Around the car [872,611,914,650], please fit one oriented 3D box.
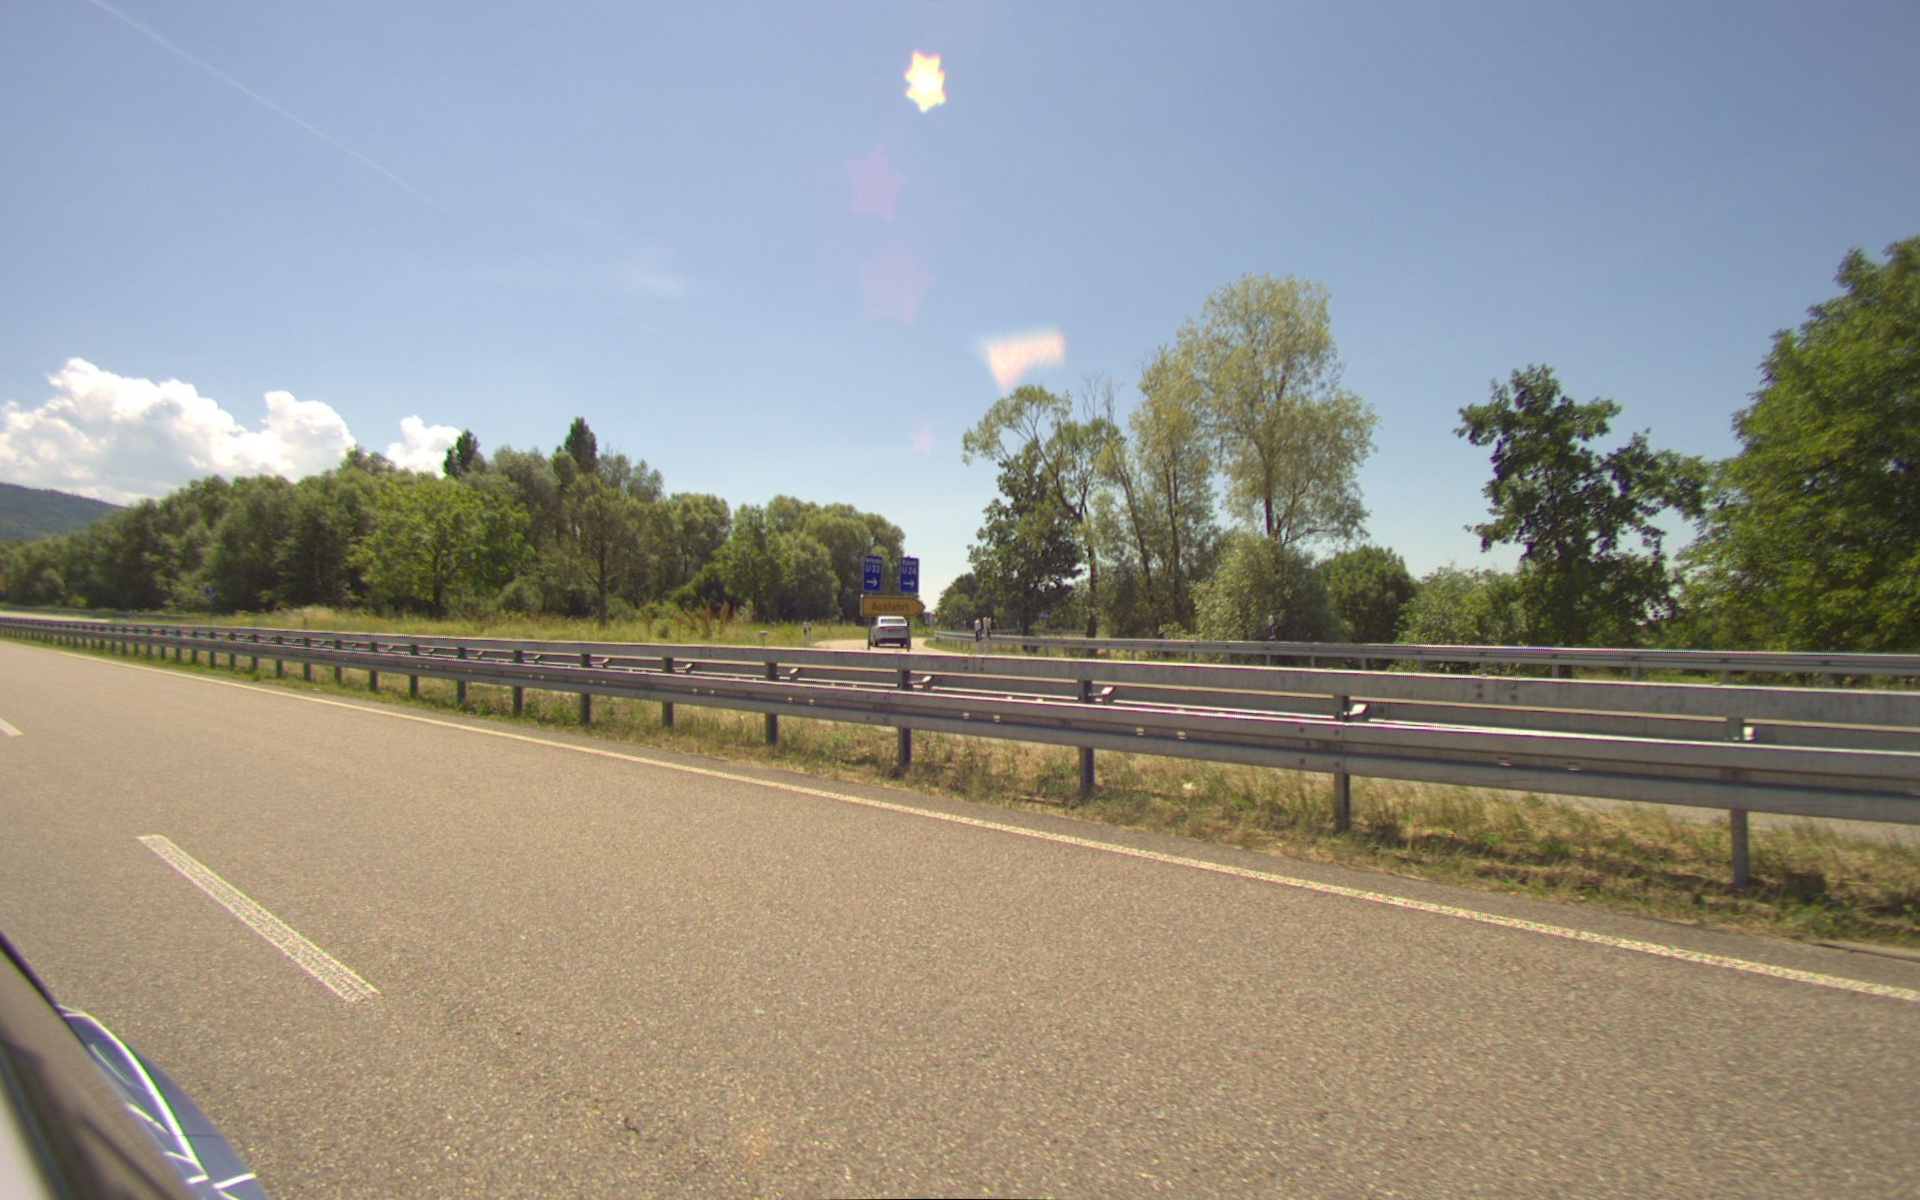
[{"bbox_3d":[-3.198,1.372,47.621,1.703,1.657,4.950,-1,0,-7],"label":"car"}]
